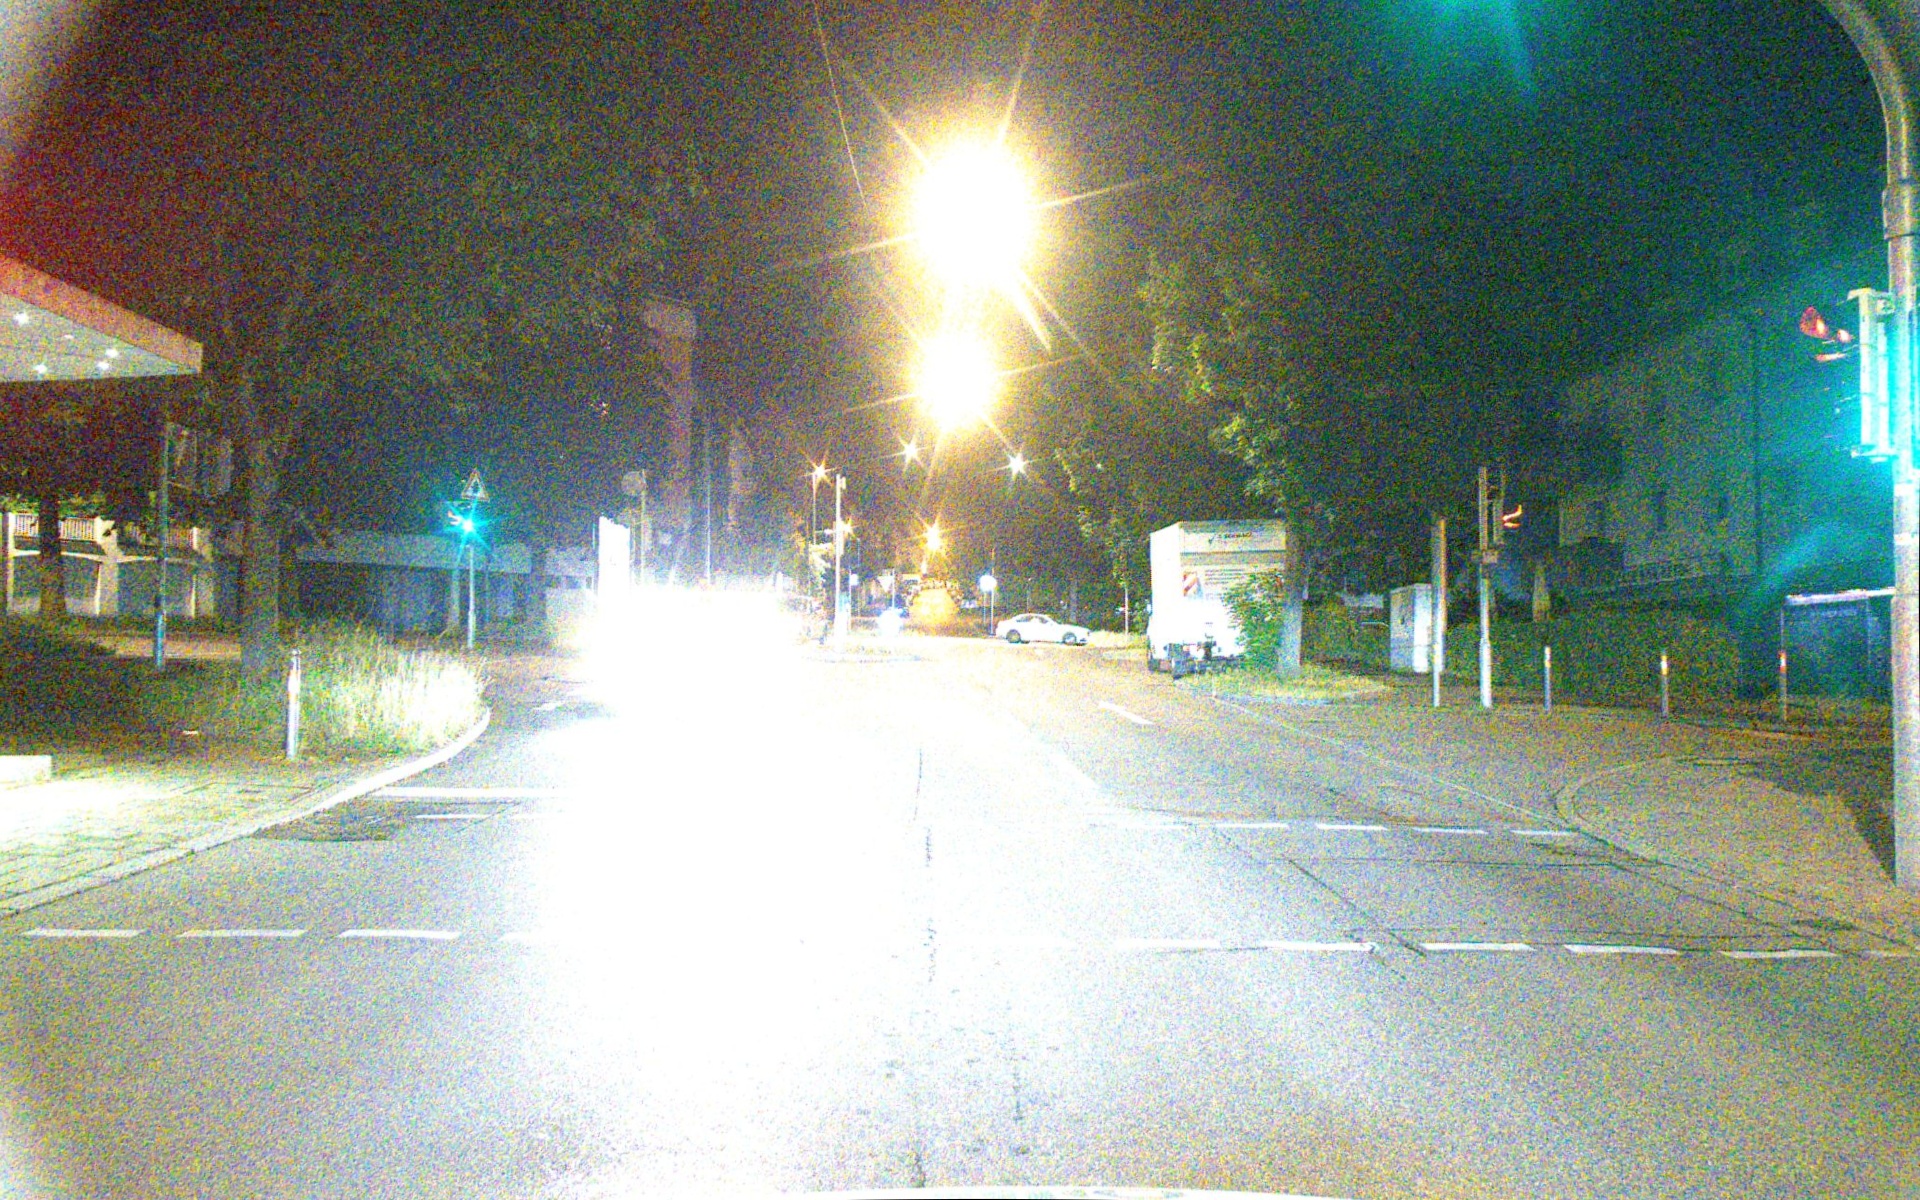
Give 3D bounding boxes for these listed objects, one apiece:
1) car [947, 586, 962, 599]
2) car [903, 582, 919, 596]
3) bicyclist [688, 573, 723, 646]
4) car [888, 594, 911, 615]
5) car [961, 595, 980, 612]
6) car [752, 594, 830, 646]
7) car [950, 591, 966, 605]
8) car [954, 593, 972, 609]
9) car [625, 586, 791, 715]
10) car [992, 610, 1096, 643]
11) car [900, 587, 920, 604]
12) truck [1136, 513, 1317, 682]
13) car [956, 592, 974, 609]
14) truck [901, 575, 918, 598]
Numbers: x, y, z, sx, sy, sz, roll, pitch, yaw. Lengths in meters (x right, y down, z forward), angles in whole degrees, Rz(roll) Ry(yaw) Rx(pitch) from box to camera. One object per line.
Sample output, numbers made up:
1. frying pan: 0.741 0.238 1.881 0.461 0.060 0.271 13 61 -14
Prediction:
1. car: -0.635 -0.840 191.479 1.601 1.477 3.484 1 0 -1
2. car: -5.518 -1.210 186.881 1.779 1.517 3.998 1 0 -2
3. bicyclist: -5.901 0.226 38.352 0.676 1.666 0.896 1 -1 -1
4. car: -4.889 0.364 134.363 1.778 1.713 3.999 1 0 -1
5. car: 0.887 0.288 143.366 1.601 1.477 3.484 1 0 -1
6. car: -5.192 0.584 51.085 1.548 1.528 3.399 1 0 9
7. car: -0.251 -0.177 178.511 1.601 1.477 3.484 1 0 -1
8. car: 0.272 0.096 159.277 1.601 1.477 3.484 1 0 -1
9. car: -3.306 0.621 22.405 1.820 1.561 4.025 1 0 -3
10. car: 3.953 1.221 77.801 4.474 1.413 1.922 1 0 22
11. car: -4.867 -0.441 160.497 1.779 1.517 3.998 1 0 -2
12. truck: 5.406 -0.058 34.614 2.693 3.165 6.257 1 0 0
13. car: 0.426 0.061 153.095 1.601 1.477 3.484 1 0 -1
14. truck: -6.418 -1.712 209.506 2.044 2.897 5.828 1 0 -2
